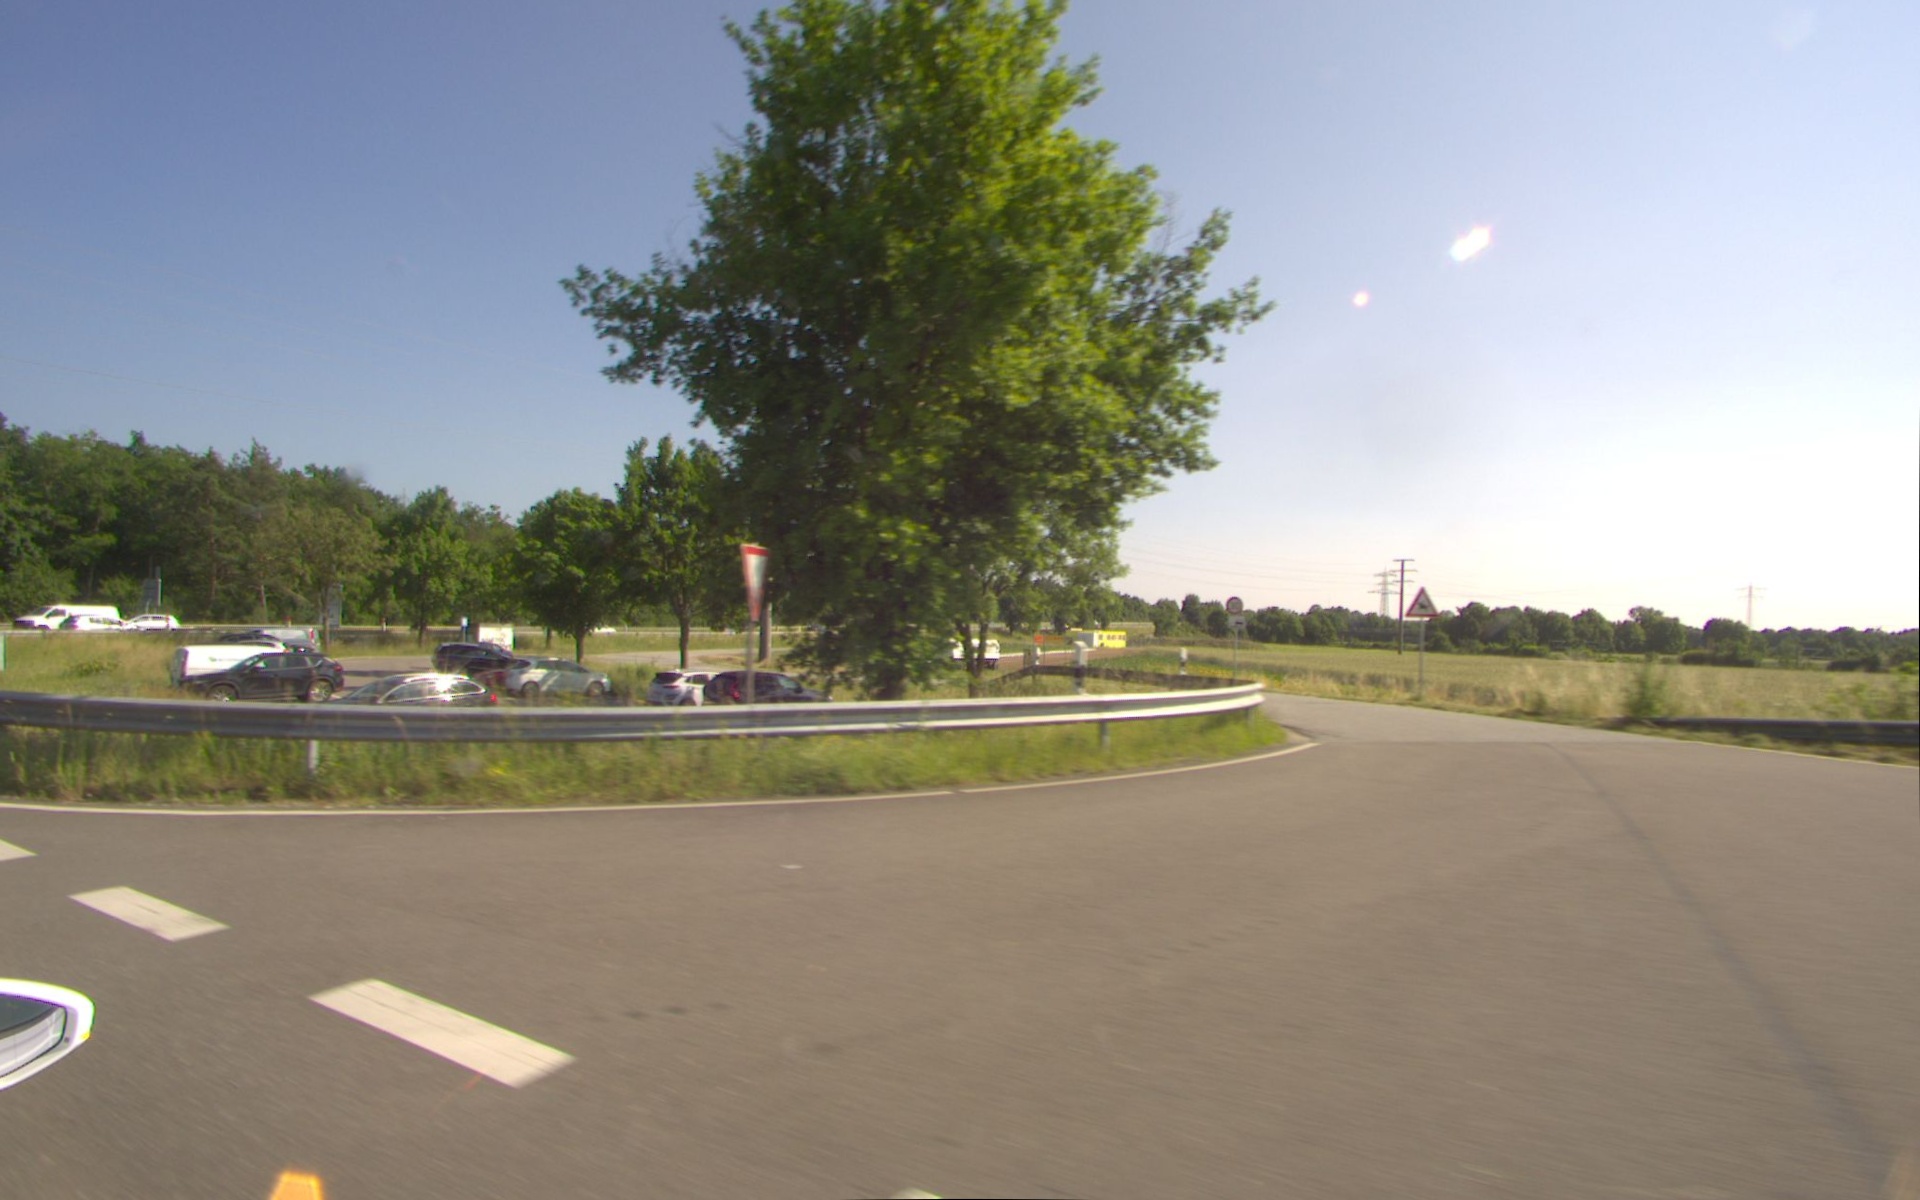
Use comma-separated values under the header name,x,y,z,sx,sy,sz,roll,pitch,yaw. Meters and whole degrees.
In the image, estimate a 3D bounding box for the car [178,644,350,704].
name,x,y,z,sx,sy,sz,roll,pitch,yaw
car,-22.985,2.374,33.193,1.880,1.690,4.390,1,0,42

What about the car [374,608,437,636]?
name,x,y,z,sx,sy,sz,roll,pitch,yaw
car,-42.874,1.697,77.459,1.770,2.040,3.988,1,0,24

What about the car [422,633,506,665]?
name,x,y,z,sx,sy,sz,roll,pitch,yaw
car,-27.616,2.727,55.759,3.949,1.600,1.778,4,-3,-33

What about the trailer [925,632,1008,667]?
name,x,y,z,sx,sy,sz,roll,pitch,yaw
trailer,0.586,4.097,82.286,6.744,2.704,2.864,3,-2,-45

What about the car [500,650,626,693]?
name,x,y,z,sx,sy,sz,roll,pitch,yaw
car,-16.109,2.923,40.699,4.324,1.609,1.983,4,-3,-41

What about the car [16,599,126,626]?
name,x,y,z,sx,sy,sz,roll,pitch,yaw
car,-56.783,0.773,64.092,1.967,1.573,4.882,0,0,23

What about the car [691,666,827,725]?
name,x,y,z,sx,sy,sz,roll,pitch,yaw
car,-6.360,3.024,32.029,1.867,1.686,3.976,0,-3,37

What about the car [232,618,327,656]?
name,x,y,z,sx,sy,sz,roll,pitch,yaw
car,-37.582,2.061,55.417,3.934,1.900,1.887,3,-3,-21

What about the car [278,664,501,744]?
name,x,y,z,sx,sy,sz,roll,pitch,yaw
car,-14.576,2.590,25.878,1.971,1.647,4.644,0,-1,32

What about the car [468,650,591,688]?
name,x,y,z,sx,sy,sz,roll,pitch,yaw
car,-18.042,2.906,42.086,4.324,1.465,1.983,4,-3,-41

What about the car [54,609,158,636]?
name,x,y,z,sx,sy,sz,roll,pitch,yaw
car,-50.417,1.321,59.212,1.966,1.479,4.229,0,0,23

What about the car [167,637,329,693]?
name,x,y,z,sx,sy,sz,roll,pitch,yaw
car,-25.012,2.262,35.307,1.880,1.806,4.334,0,-2,42

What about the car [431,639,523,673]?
name,x,y,z,sx,sy,sz,roll,pitch,yaw
car,-24.537,2.847,50.918,3.949,1.600,1.880,4,-3,-33

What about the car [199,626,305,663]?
name,x,y,z,sx,sy,sz,roll,pitch,yaw
car,-35.071,2.202,49.731,3.940,1.640,1.884,4,-3,-26

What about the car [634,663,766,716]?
name,x,y,z,sx,sy,sz,roll,pitch,yaw
car,-8.720,2.998,33.820,1.868,1.600,3.975,0,-3,38
